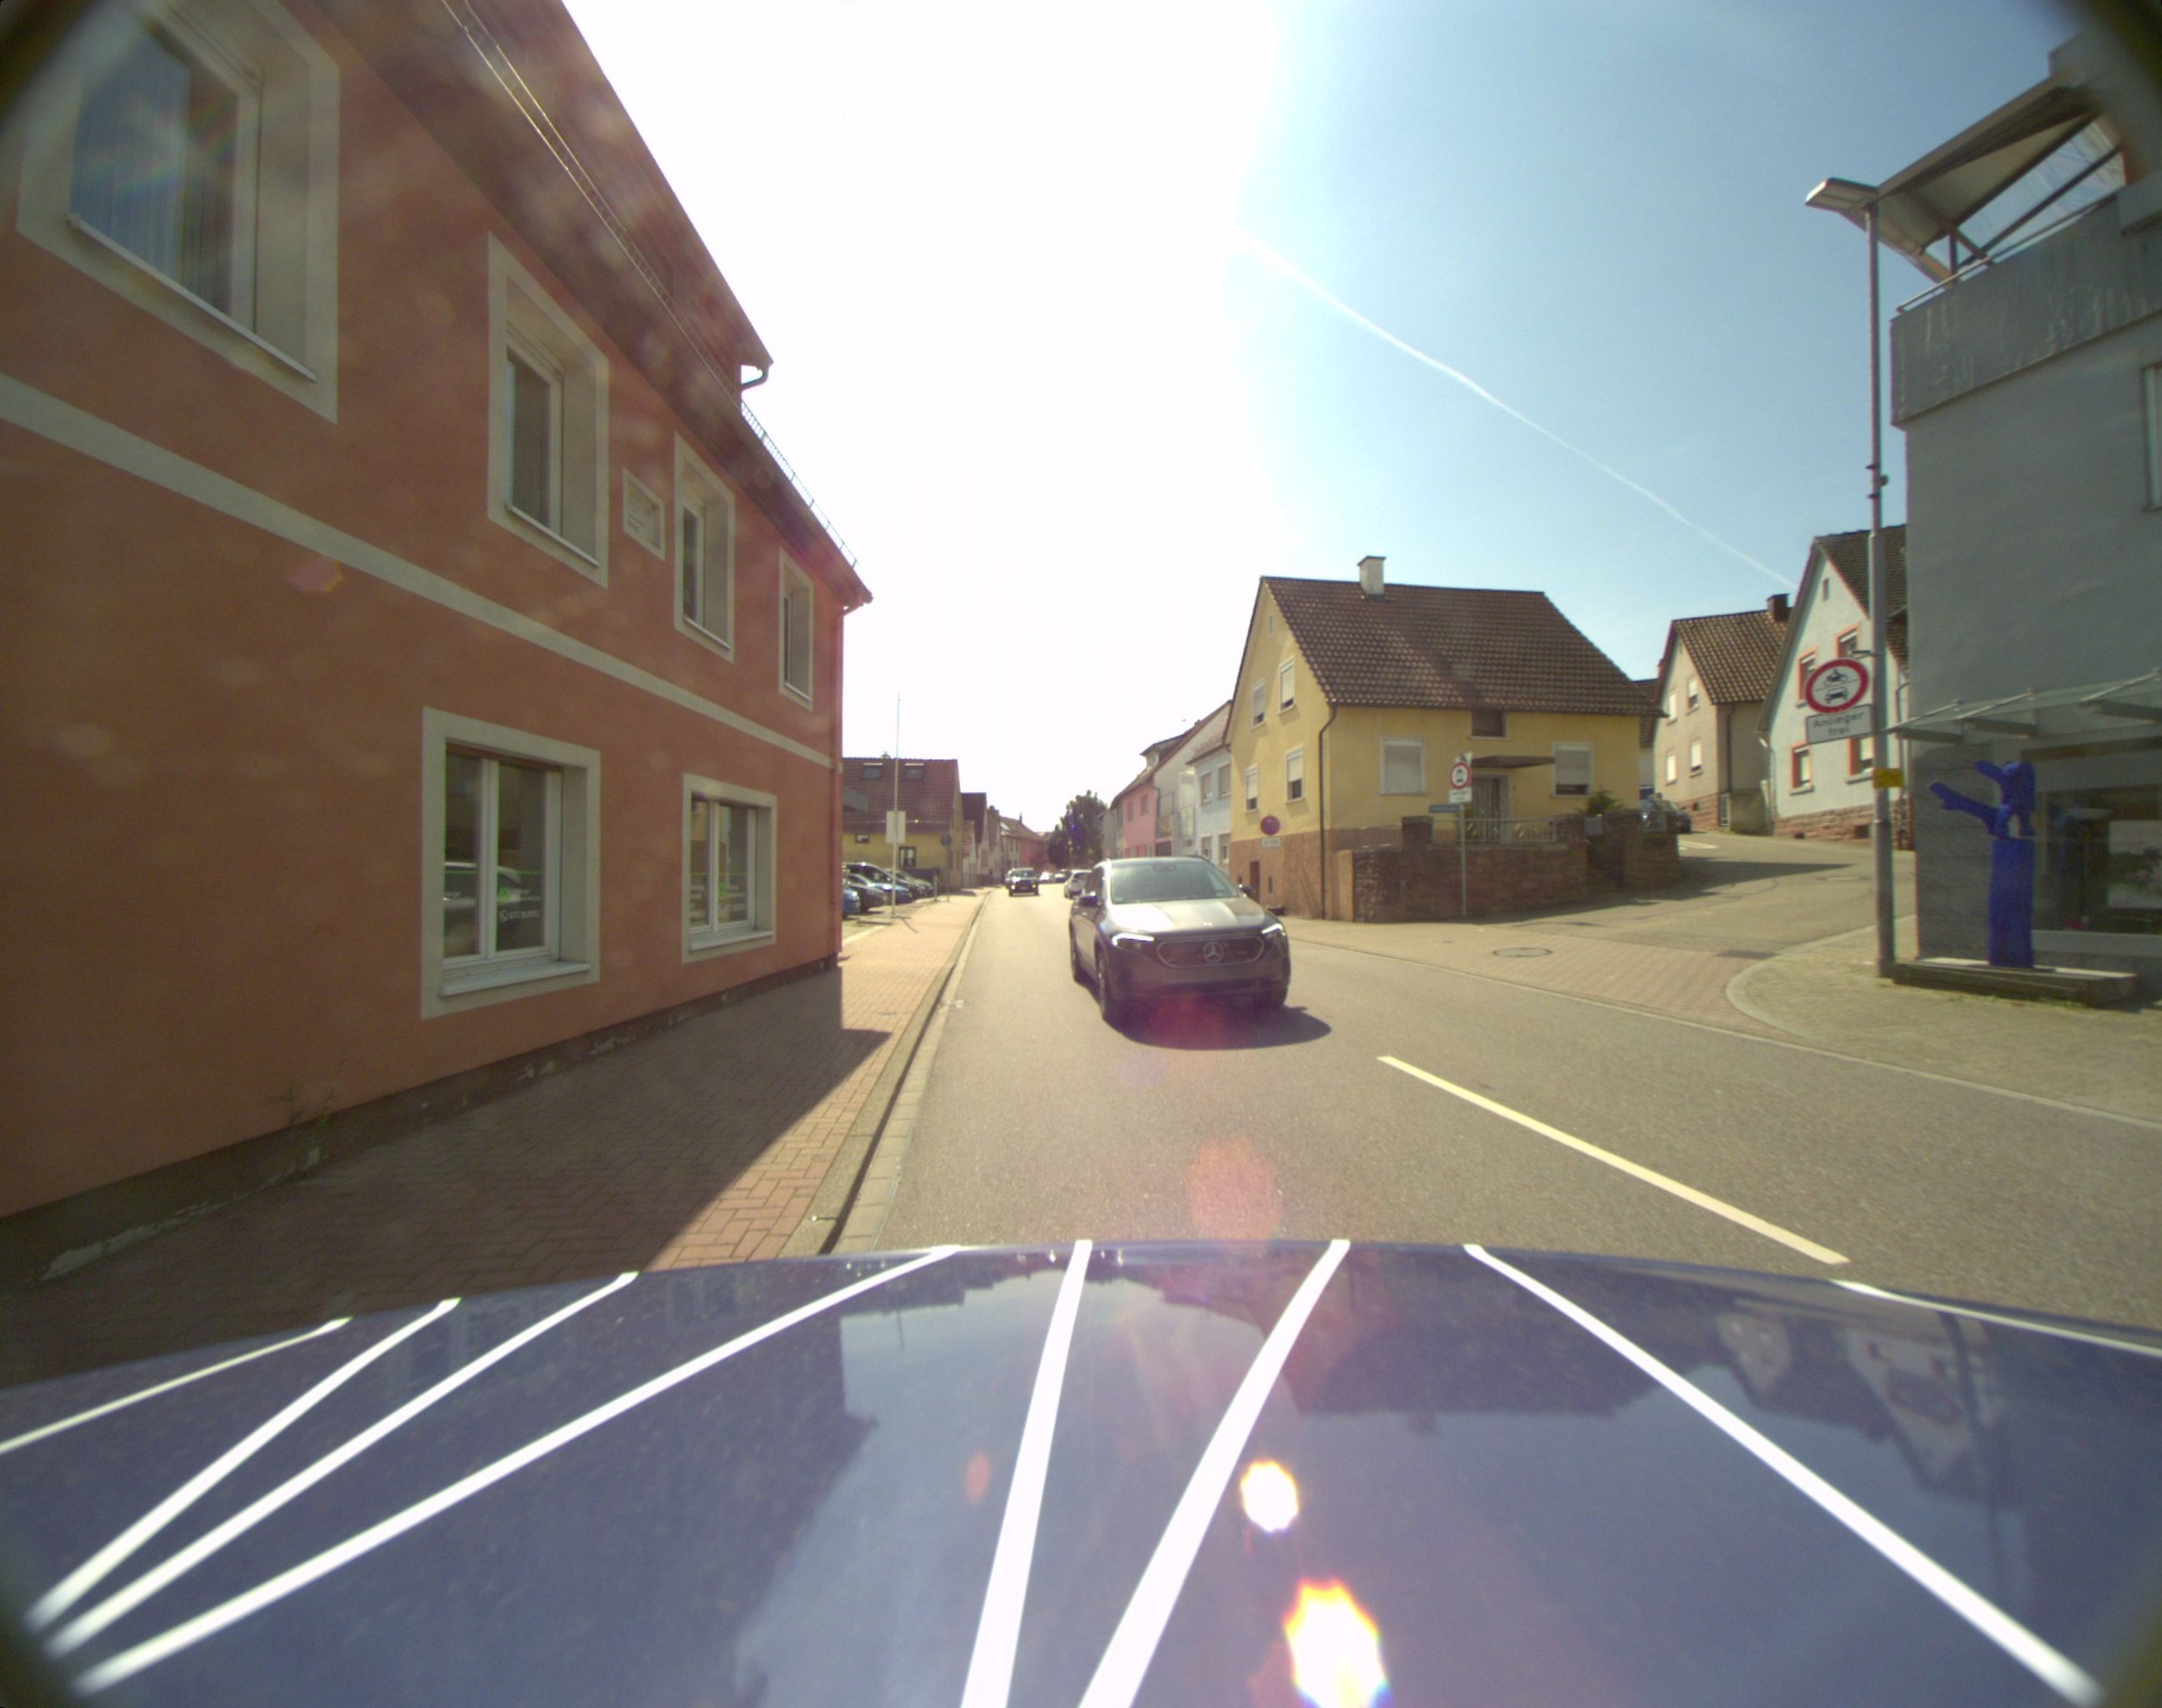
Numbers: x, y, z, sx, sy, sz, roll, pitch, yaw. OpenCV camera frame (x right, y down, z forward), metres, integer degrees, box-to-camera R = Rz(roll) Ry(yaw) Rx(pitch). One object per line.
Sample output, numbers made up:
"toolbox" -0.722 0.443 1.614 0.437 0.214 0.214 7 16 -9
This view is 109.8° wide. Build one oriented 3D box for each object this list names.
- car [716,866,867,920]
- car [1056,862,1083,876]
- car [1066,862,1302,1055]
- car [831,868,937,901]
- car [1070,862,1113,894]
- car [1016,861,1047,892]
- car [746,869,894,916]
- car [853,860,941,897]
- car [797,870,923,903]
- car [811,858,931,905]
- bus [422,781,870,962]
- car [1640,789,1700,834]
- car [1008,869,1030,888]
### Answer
"car" -8.365 1.105 22.198 3.811 1.519 1.582 0 0 -5
"car" -1.627 2.158 108.590 1.945 1.841 4.516 -2 0 24
"car" 0.849 0.912 8.640 1.738 1.564 4.289 -2 0 -5
"car" -9.520 1.483 36.957 4.648 1.489 1.910 -1 -1 -2
"car" 0.461 1.168 37.863 1.734 1.533 3.811 0 -1 -6
"car" -3.029 1.306 46.037 1.793 1.643 4.391 -1 1 -5
"car" -8.350 1.213 24.567 4.172 1.472 1.727 0 -1 -2
"car" -10.178 1.365 42.287 4.338 1.736 1.737 -3 2 2
"car" -8.875 1.278 30.820 4.550 1.260 1.965 0 -1 -2
"car" -9.138 1.170 33.354 4.647 1.799 1.965 -3 1 -2
"bus" -7.346 0.292 13.462 6.583 2.888 2.229 1 0 -2
"car" 24.653 -1.736 31.912 1.569 1.659 3.775 -2 0 32
"car" -5.533 2.166 67.647 1.781 1.533 4.096 -2 1 -5
